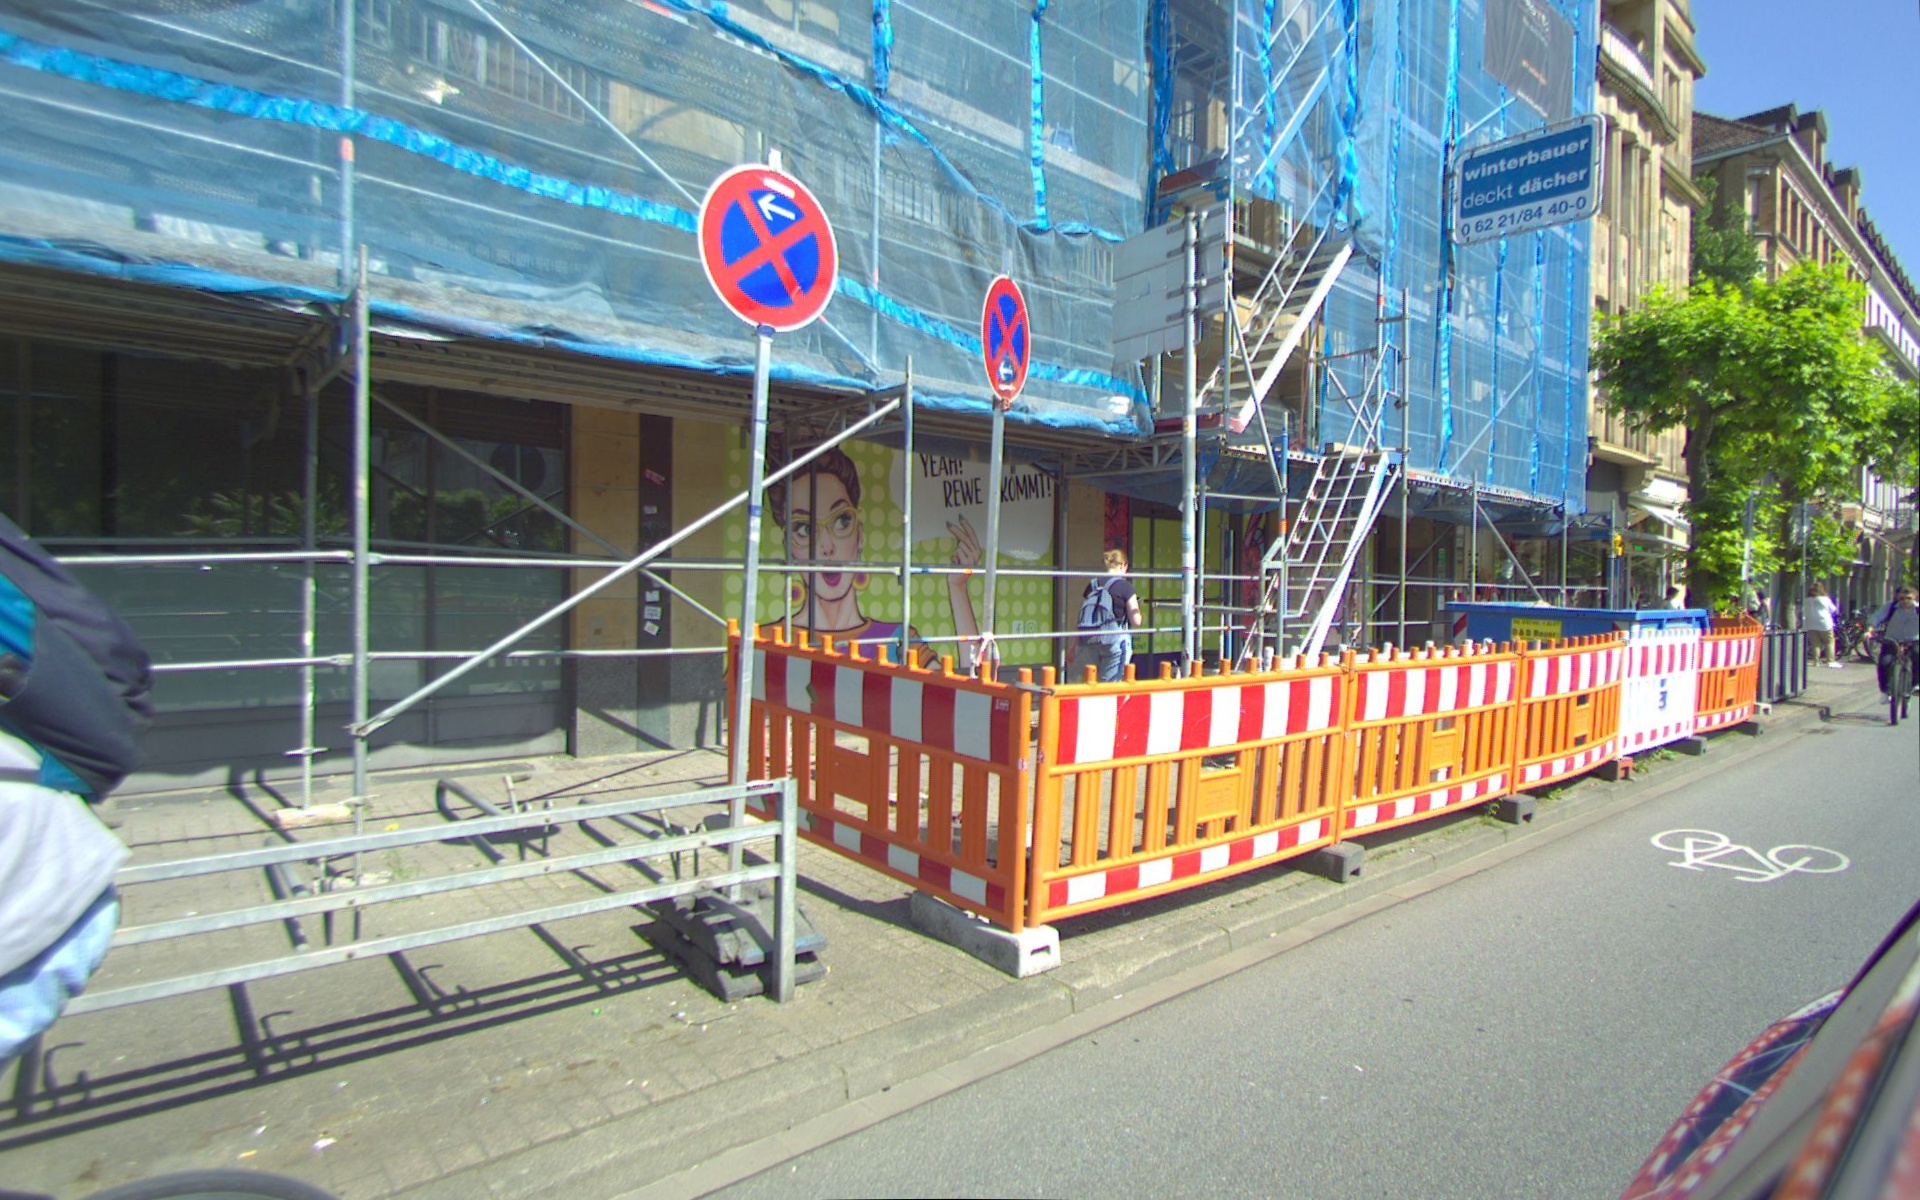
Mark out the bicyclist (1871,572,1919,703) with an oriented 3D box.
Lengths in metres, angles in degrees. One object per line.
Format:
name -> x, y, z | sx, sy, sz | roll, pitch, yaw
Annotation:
bicyclist -> 12.002, 0.456, 12.658 | 0.765, 1.597, 0.749 | -1, -2, -41

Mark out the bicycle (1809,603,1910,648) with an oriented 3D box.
bicycle -> 21.456, 0.586, 24.179 | 0.474, 1.031, 1.755 | -1, 0, -42

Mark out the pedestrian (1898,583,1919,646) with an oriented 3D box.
pedestrian -> 25.419, 0.386, 26.899 | 0.598, 1.646, 0.635 | 3, 2, 40

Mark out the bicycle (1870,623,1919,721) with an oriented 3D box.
bicycle -> 12.021, 0.865, 12.642 | 1.865, 1.107, 0.735 | -1, -2, -42

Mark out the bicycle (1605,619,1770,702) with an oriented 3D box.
bicycle -> 9.871, 0.792, 13.780 | 0.474, 1.031, 1.755 | -1, 0, -42

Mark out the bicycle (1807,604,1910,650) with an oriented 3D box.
bicycle -> 21.045, 0.607, 23.721 | 0.474, 1.031, 1.755 | -1, 0, -42

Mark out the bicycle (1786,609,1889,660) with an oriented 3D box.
bicycle -> 18.811, 0.716, 21.744 | 0.645, 1.031, 1.758 | -1, 0, 0

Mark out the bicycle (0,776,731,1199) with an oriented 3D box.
bicycle -> -1.361, 0.919, 1.091 | 2.094, 1.107, 0.735 | -1, -2, -42

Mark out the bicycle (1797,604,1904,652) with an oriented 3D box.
bicycle -> 20.110, 0.619, 22.876 | 0.547, 1.031, 1.755 | -1, 0, -42

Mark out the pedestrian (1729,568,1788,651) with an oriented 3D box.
pedestrian -> 18.575, 0.196, 23.532 | 0.874, 1.871, 0.817 | -1, 2, -33

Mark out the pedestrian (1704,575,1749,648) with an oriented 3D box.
pedestrian -> 19.275, 0.265, 25.448 | 0.966, 1.803, 0.670 | -1, 1, -36

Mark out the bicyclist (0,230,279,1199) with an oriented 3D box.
bicyclist -> -1.431, 0.379, 1.047 | 1.123, 1.481, 0.689 | -1, -2, -42

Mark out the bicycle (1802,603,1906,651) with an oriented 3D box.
bicycle -> 20.593, 0.603, 23.330 | 0.577, 1.031, 1.754 | -1, 1, -43

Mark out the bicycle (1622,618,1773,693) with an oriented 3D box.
bicycle -> 10.978, 0.798, 15.114 | 0.474, 1.031, 1.755 | -1, 0, -42

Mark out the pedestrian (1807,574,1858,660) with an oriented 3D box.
pedestrian -> 17.775, 0.338, 20.629 | 0.653, 1.704, 0.646 | -1, 1, 31

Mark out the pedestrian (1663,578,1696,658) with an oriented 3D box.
pedestrian -> 15.524, 0.375, 21.831 | 0.470, 1.704, 0.380 | 0, 1, 17

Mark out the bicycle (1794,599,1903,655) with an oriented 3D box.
bicycle -> 19.693, 0.581, 22.453 | 0.569, 1.196, 1.755 | -1, 0, -42

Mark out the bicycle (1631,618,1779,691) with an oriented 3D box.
bicycle -> 11.365, 0.808, 15.479 | 0.474, 1.031, 1.755 | -1, 0, -42

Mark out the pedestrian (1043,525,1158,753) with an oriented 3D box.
pedestrian -> 1.169, 0.313, 8.455 | 0.638, 1.799, 0.640 | -1, -2, -40

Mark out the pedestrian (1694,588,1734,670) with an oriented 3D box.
pedestrian -> 16.179, 0.611, 21.713 | 0.530, 1.703, 0.497 | 1, 2, 19

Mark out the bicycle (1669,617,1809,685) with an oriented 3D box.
bicycle -> 12.710, 0.813, 16.552 | 0.474, 1.031, 1.755 | -1, 0, -42
